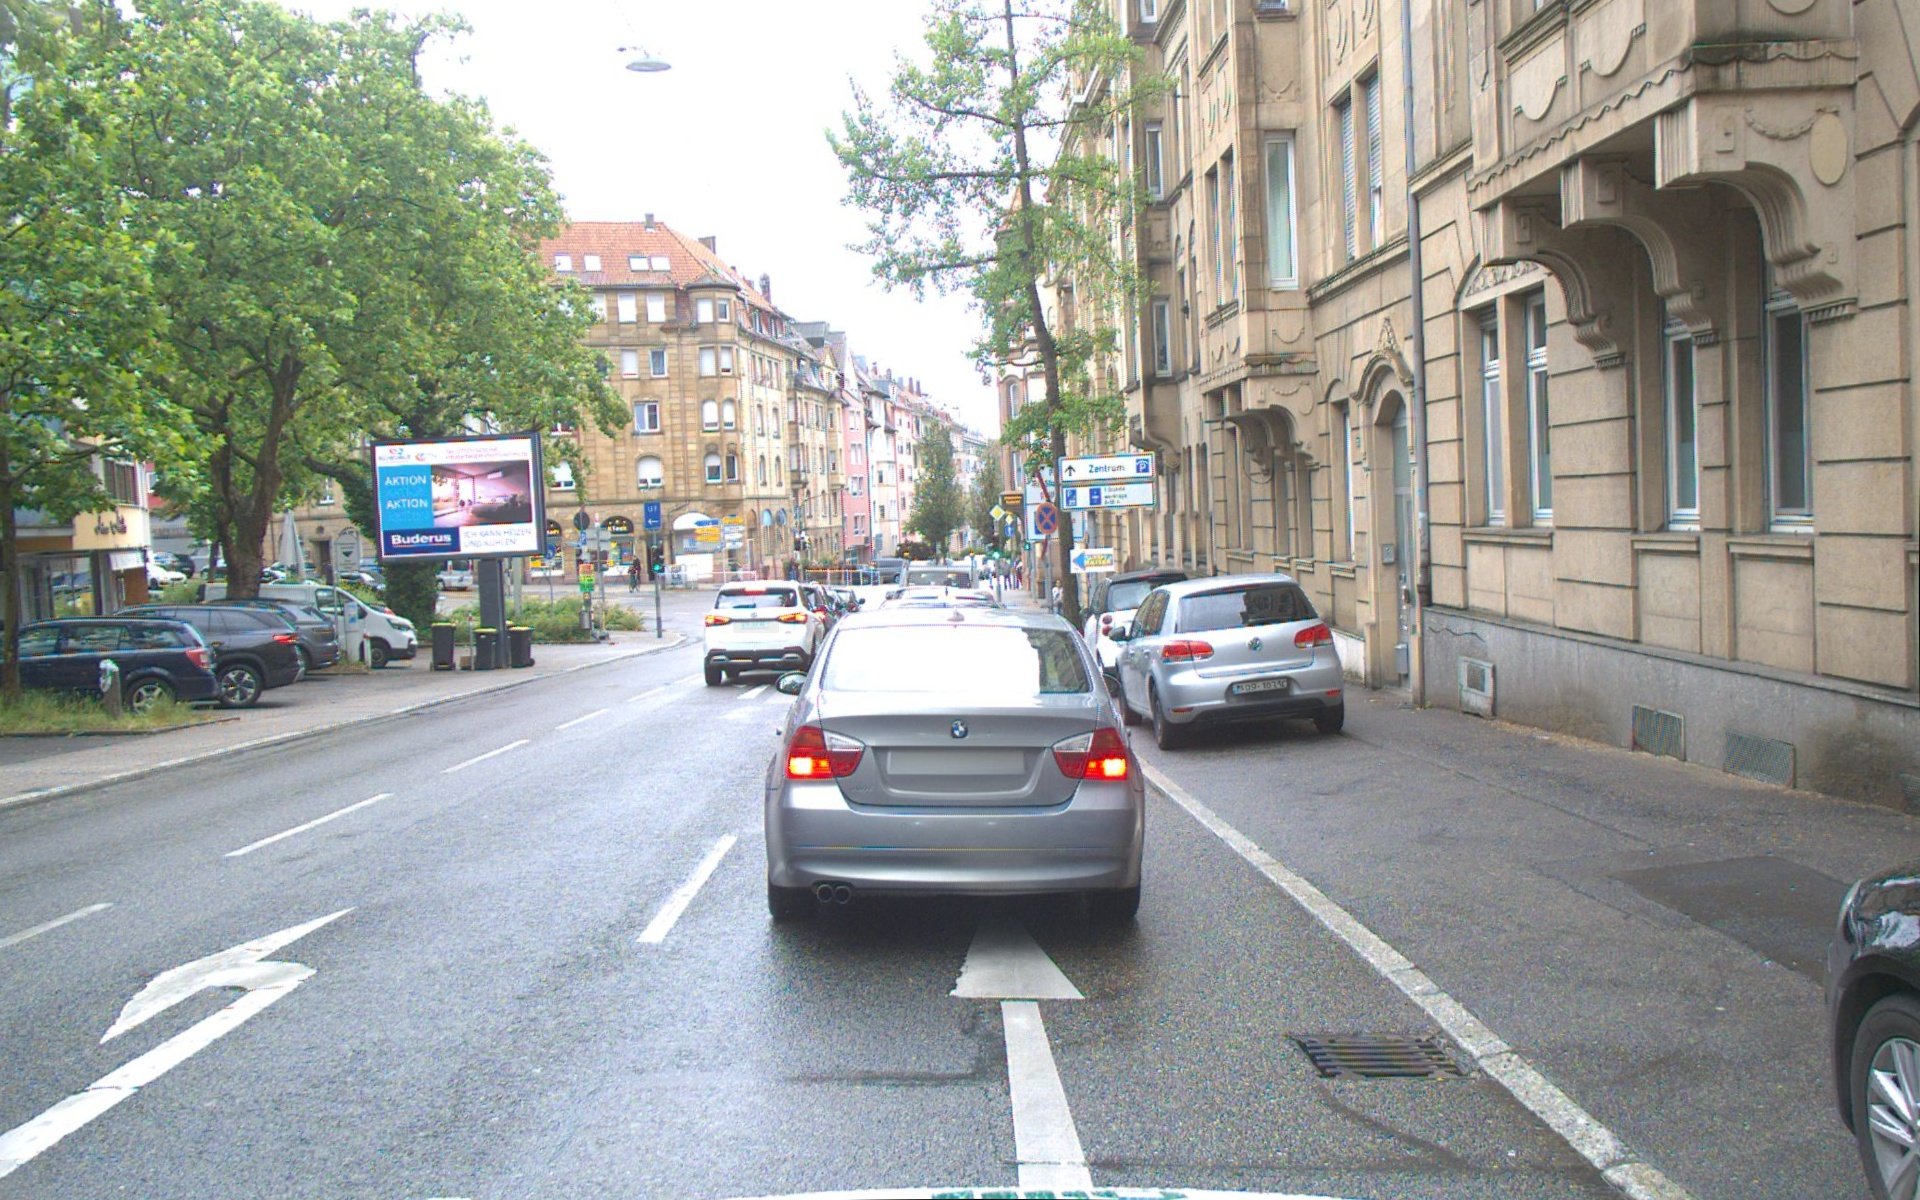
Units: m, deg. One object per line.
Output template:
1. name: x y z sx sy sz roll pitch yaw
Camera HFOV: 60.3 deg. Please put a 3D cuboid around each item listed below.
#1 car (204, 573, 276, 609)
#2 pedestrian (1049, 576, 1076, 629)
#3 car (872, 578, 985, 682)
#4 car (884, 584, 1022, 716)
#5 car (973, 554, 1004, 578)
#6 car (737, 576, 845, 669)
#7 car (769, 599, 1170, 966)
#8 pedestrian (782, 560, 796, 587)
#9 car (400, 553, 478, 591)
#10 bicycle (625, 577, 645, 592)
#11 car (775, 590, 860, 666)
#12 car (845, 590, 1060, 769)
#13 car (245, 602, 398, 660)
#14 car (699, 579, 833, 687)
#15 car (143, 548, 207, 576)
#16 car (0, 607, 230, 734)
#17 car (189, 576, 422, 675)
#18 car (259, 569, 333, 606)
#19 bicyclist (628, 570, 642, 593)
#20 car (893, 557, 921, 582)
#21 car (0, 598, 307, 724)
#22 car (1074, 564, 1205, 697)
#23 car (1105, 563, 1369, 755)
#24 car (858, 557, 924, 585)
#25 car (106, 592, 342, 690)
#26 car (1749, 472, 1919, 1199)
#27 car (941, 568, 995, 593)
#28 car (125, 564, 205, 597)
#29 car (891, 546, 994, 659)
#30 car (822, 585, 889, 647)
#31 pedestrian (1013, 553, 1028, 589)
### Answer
1. car: -45.352 -0.570 104.177 4.196 2.138 1.998 2 2 28
2. pedestrian: 3.132 0.078 50.522 0.618 1.534 0.693 -6 0 -2
3. car: -0.478 0.438 27.463 1.723 1.594 4.000 -1 1 0
4. car: -0.066 0.548 20.884 1.562 1.490 4.000 0 1 0
5. car: 2.122 -2.474 120.844 1.951 1.606 4.002 1 0 5
6. car: -3.315 0.394 33.121 1.723 1.737 4.000 -1 1 0
7. car: 0.048 0.729 8.422 1.590 1.407 3.615 -1 1 0
8. pedestrian: -10.469 -1.634 101.194 0.716 1.605 0.528 -2 0 8
9. car: -30.341 -1.662 96.306 4.196 2.138 1.998 2 2 28
10. bicycle: -18.665 -0.889 94.965 0.561 0.873 1.523 1 0 10
11. car: -3.460 0.636 40.745 1.723 1.737 4.000 -1 1 0
12. car: -0.050 0.630 15.354 1.723 1.407 4.000 -1 1 0
13. car: -17.967 0.863 46.622 3.916 1.475 1.757 -2 0 -22
14. car: -3.160 0.496 27.682 1.830 1.654 3.999 -1 0 -1
15. car: -50.806 -2.454 107.018 3.909 1.718 1.726 1 0 27
16. car: -12.973 1.016 23.952 4.299 1.601 1.929 -3 1 -24
17. car: -15.472 0.572 39.288 4.989 2.142 1.979 -2 0 -22
18. car: -40.944 -0.775 101.970 4.196 2.138 1.998 2 2 28
19. bicyclist: -18.672 -1.083 95.066 0.556 1.295 0.690 1 -1 11
20. car: -3.228 -1.858 101.243 1.680 1.476 3.741 -2 0 -1
21. car: -12.894 0.927 26.658 4.308 1.701 1.842 -3 1 -24
22. car: 2.413 0.378 22.724 1.273 1.569 2.975 -6 1 -1
23. car: 2.576 0.493 16.294 1.725 1.476 3.999 -6 1 -1
24. car: -5.368 -2.283 129.975 5.072 2.049 2.698 1 0 -1
25. car: -15.056 0.812 34.105 4.295 1.815 1.927 -2 0 -22
26. car: 2.820 0.506 1.894 1.724 1.679 4.098 -6 1 0
27. car: 0.595 -1.352 114.280 1.957 1.606 3.991 1 0 31
28. car: -45.387 -1.132 94.388 4.155 1.756 1.998 0 3 29
29. car: -0.363 0.042 33.469 1.953 2.143 3.999 0 0 -1
30. car: -3.089 0.434 49.483 1.723 1.737 4.000 -1 1 0
31. pedestrian: 3.315 -1.573 90.188 0.727 1.943 0.659 -2 0 -2
